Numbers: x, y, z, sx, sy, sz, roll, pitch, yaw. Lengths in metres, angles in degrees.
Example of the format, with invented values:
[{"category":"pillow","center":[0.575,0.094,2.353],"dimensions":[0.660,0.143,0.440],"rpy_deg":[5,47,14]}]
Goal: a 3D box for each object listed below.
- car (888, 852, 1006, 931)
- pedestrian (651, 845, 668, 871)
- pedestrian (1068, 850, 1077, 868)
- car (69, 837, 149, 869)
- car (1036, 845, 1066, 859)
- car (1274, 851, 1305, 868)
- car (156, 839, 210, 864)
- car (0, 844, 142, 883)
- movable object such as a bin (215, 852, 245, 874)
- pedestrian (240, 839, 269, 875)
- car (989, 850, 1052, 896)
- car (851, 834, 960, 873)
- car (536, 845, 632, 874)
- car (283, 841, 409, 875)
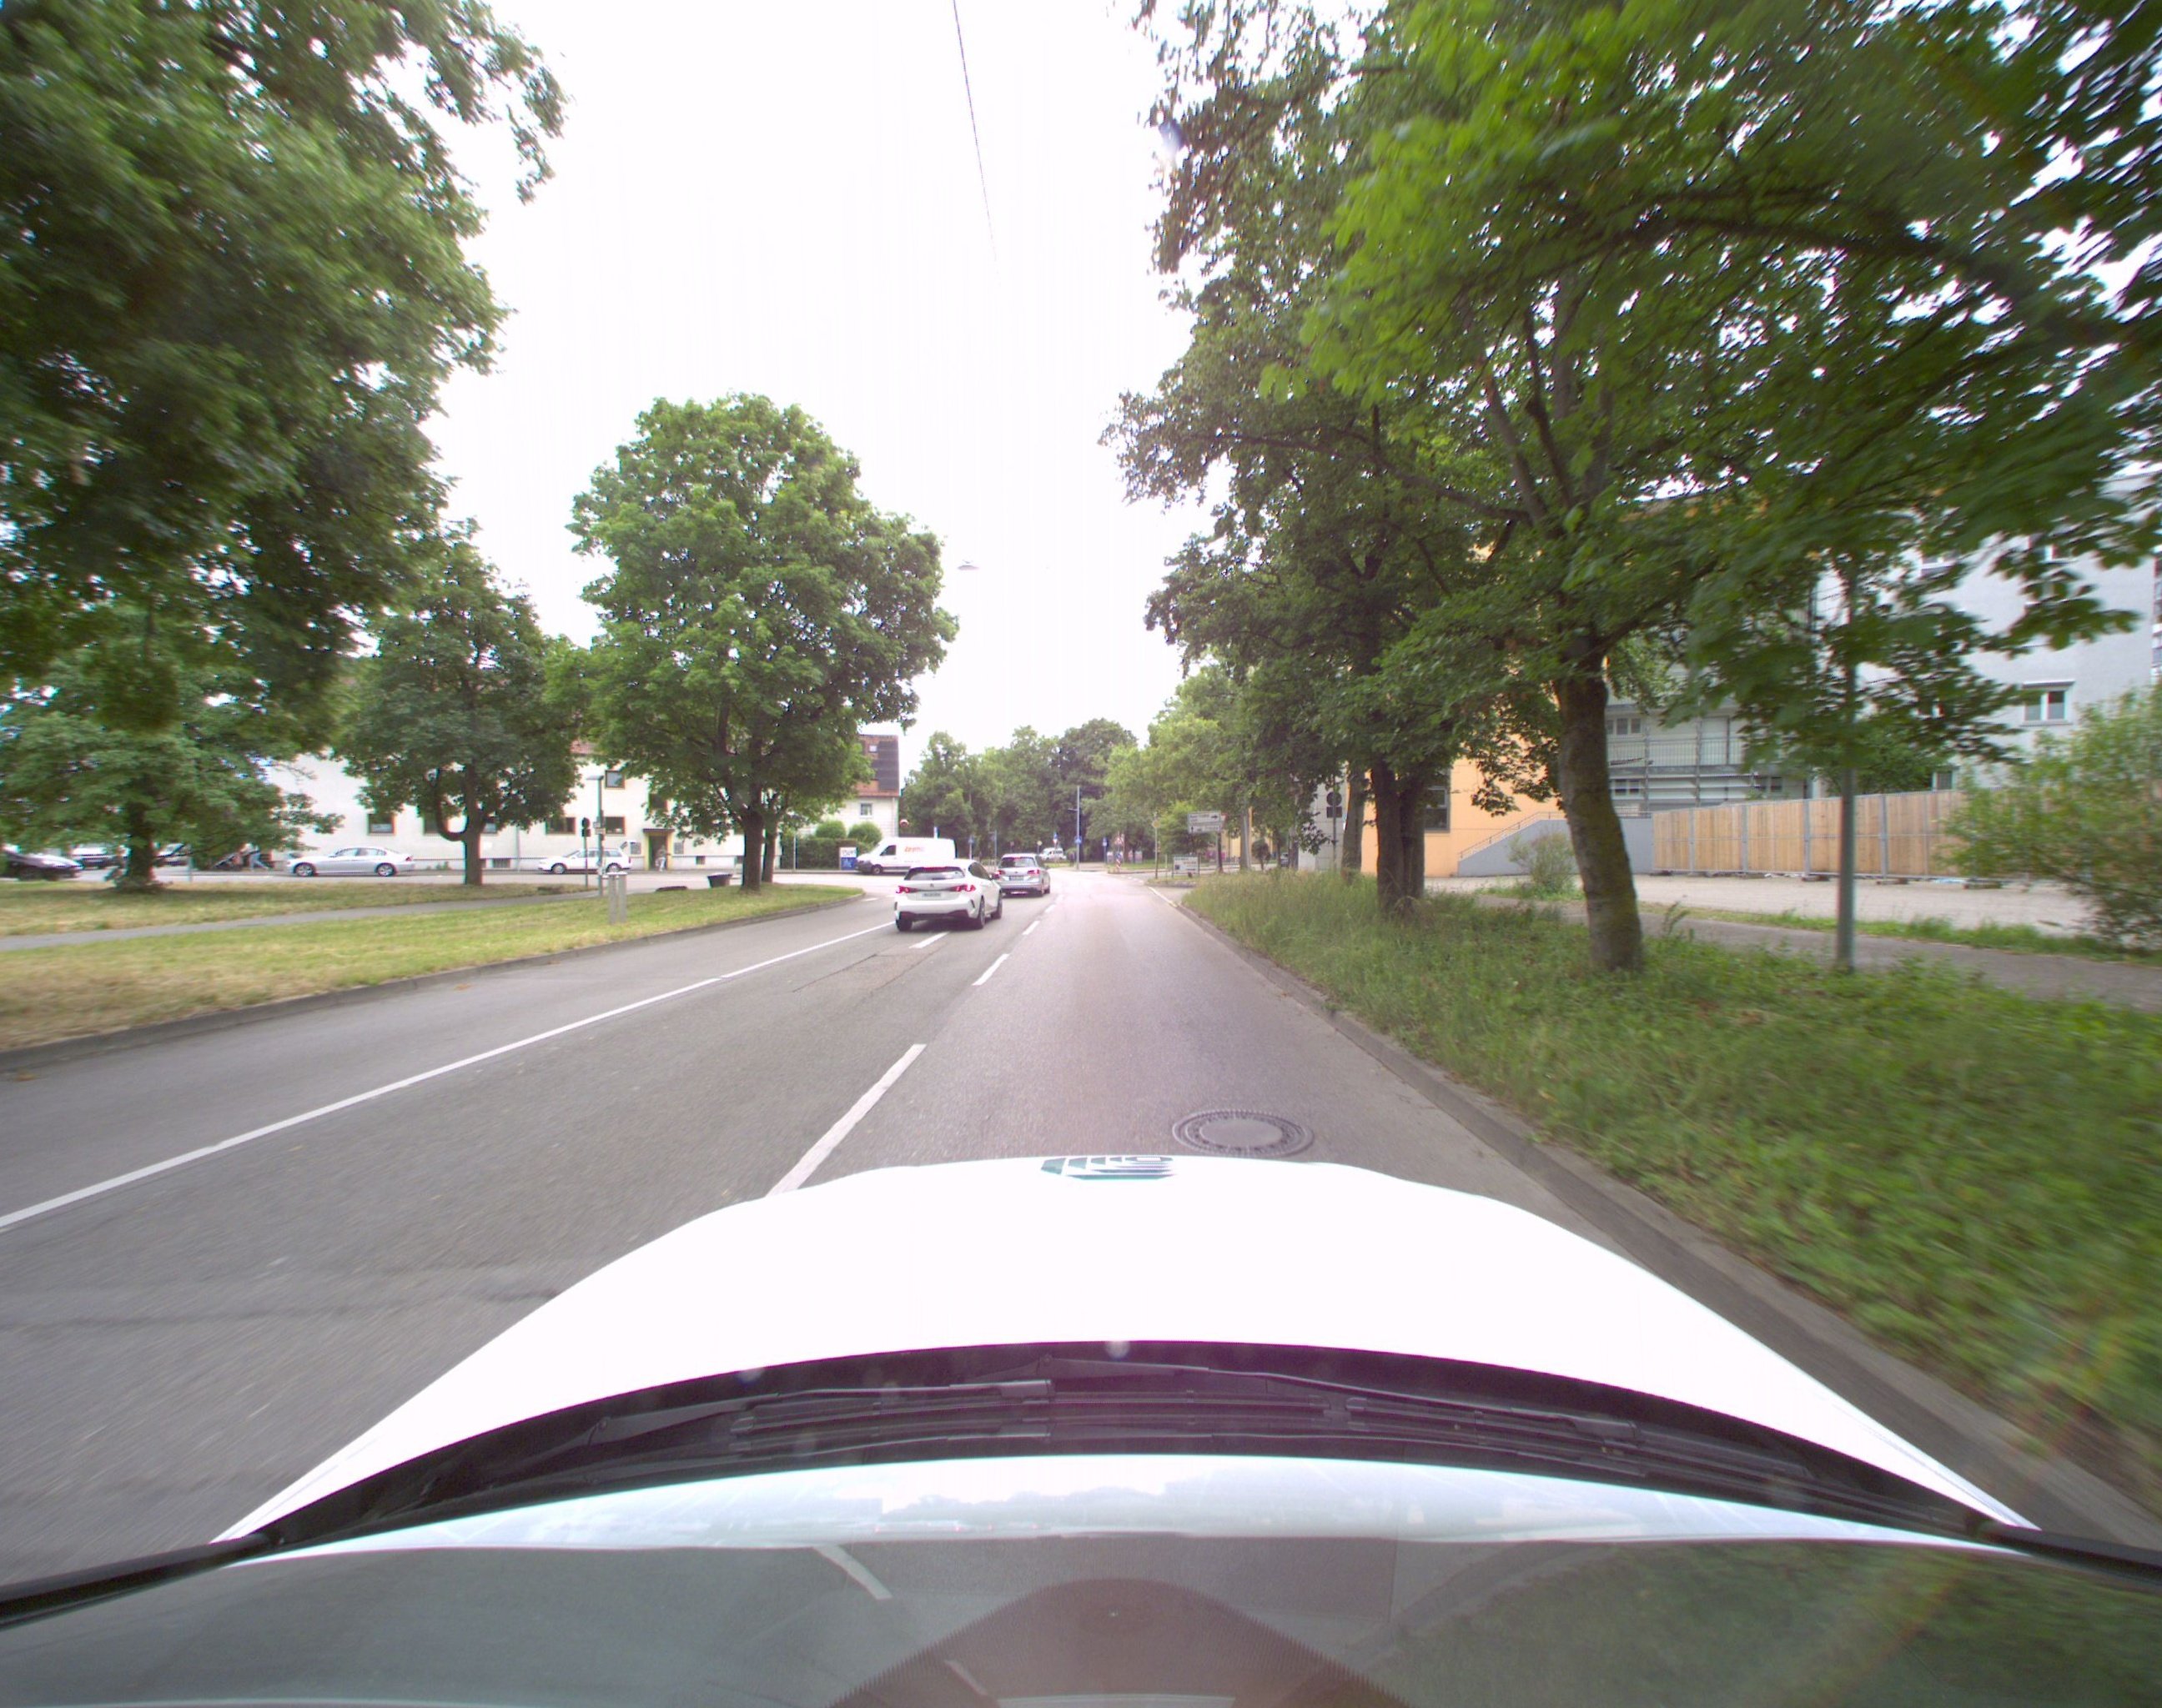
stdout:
[{"category":"car","center":[-2.885,0.762,18.409],"dimensions":[1.789,1.517,4.208],"rpy_deg":[-2,0,2]},{"category":"pedestrian","center":[-25.601,0.214,49.494],"dimensions":[0.753,1.534,0.708],"rpy_deg":[2,1,-38]},{"category":"pedestrian","center":[-0.932,0.559,90.683],"dimensions":[0.921,1.871,1.018],"rpy_deg":[-4,3,-3]},{"category":"car","center":[-56.311,-0.085,47.254],"dimensions":[1.837,1.659,3.960],"rpy_deg":[2,1,-33]},{"category":"car","center":[-5.392,-0.332,146.612],"dimensions":[2.111,2.297,5.419],"rpy_deg":[3,1,40]},{"category":"car","center":[20.258,0.540,79.012],"dimensions":[1.857,1.568,4.043],"rpy_deg":[3,1,29]},{"category":"car","center":[-62.847,-0.199,57.048],"dimensions":[1.662,1.581,3.731],"rpy_deg":[2,1,-34]},{"category":"car","center":[-38.247,0.340,30.306],"dimensions":[4.007,1.336,1.630],"rpy_deg":[1,2,-26]},{"category":"movable object such as a bin","center":[-40.216,0.435,38.480],"dimensions":[0.882,0.997,0.400],"rpy_deg":[2,1,-33]},{"category":"pedestrian","center":[-39.514,0.141,38.930],"dimensions":[0.785,1.633,0.675],"rpy_deg":[2,1,-33]},{"category":"car","center":[-2.194,0.656,30.523],"dimensions":[1.915,1.574,4.003],"rpy_deg":[0,0,2]},{"category":"car","center":[-11.827,-0.013,55.277],"dimensions":[7.011,2.521,2.062],"rpy_deg":[1,2,-36]},{"category":"car","center":[-27.617,0.317,45.342],"dimensions":[4.337,1.440,1.702],"rpy_deg":[2,1,-38]},{"category":"car","center":[-34.567,0.240,38.467],"dimensions":[4.252,1.534,1.664],"rpy_deg":[1,-2,-37]}]
